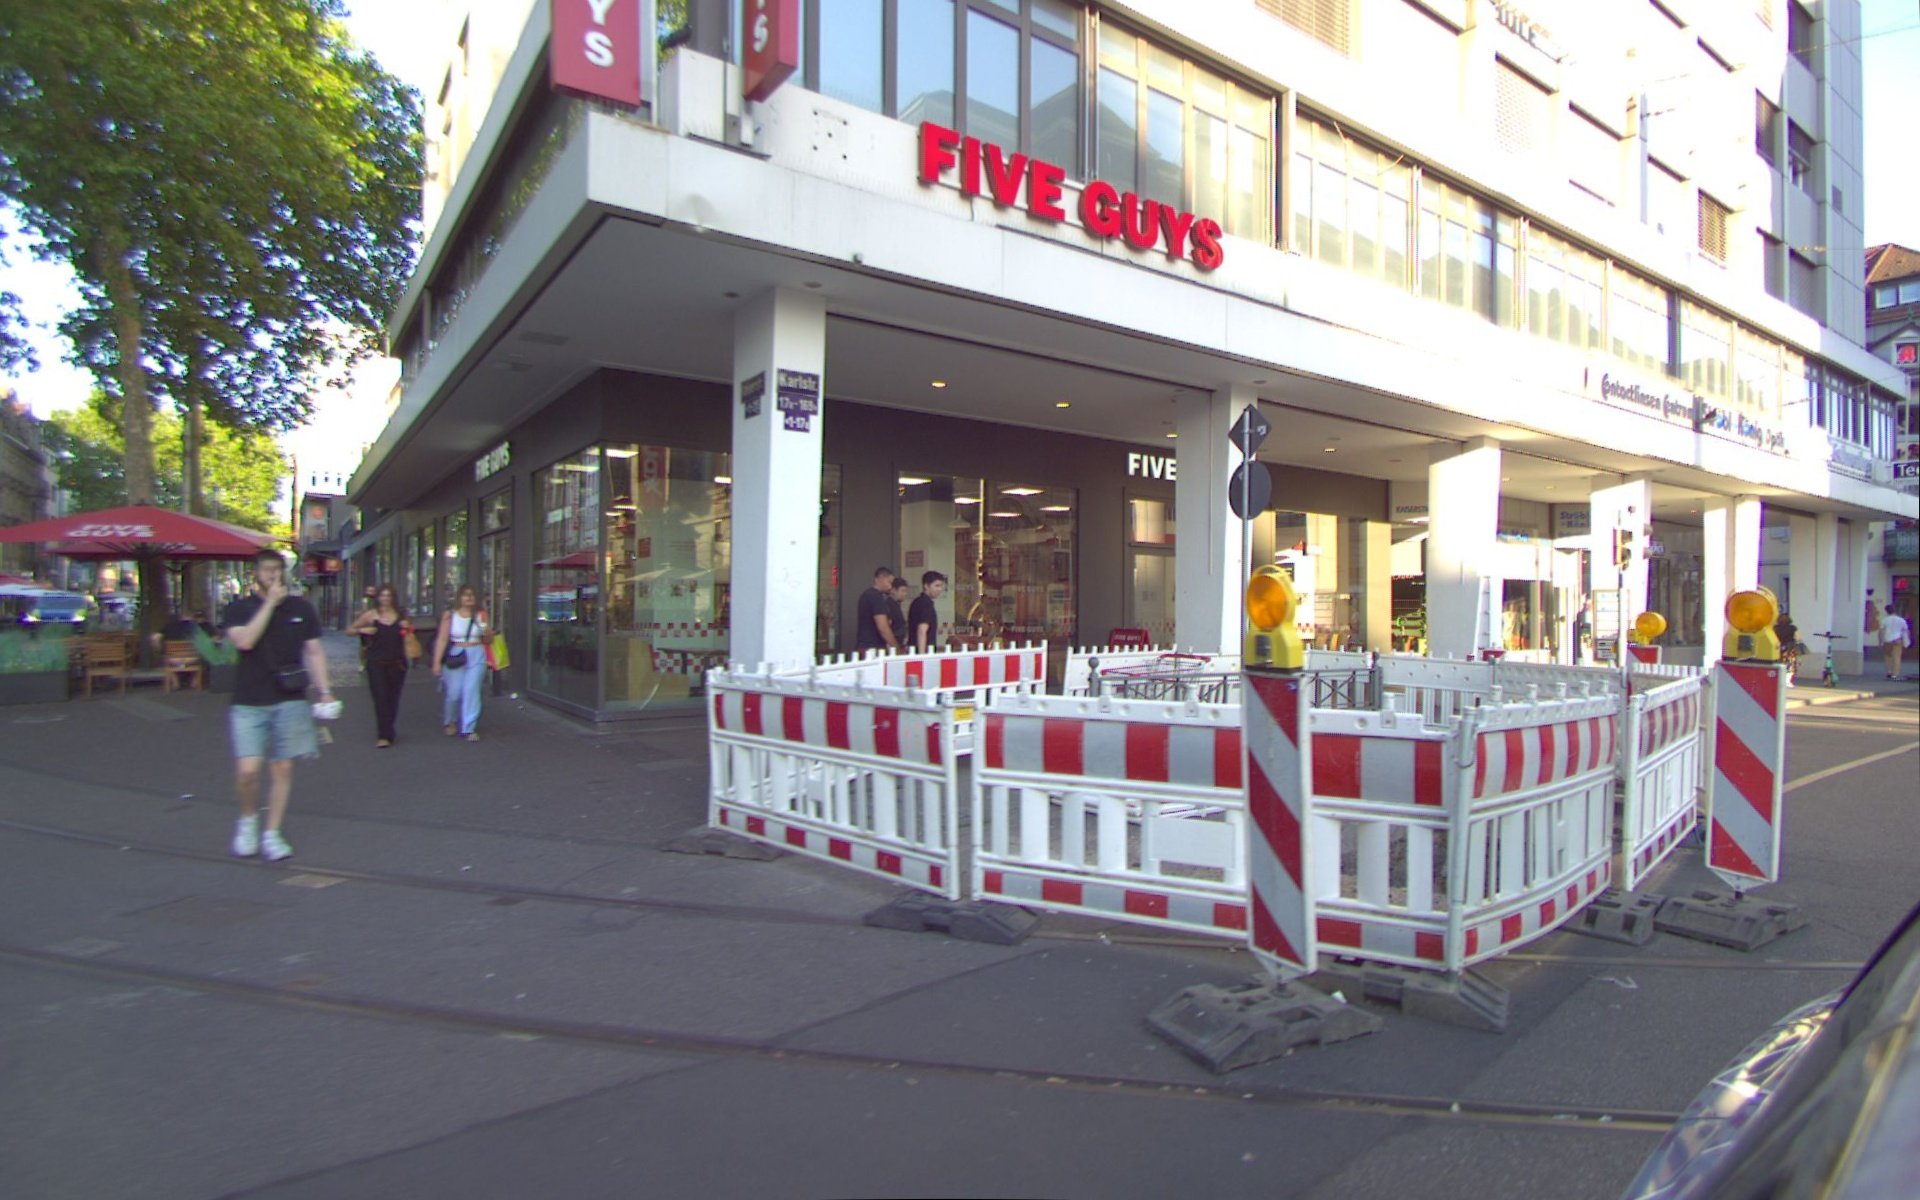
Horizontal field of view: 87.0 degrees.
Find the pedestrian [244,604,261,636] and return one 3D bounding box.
[{"bbox_3d":[-35.554,1.007,50.869,0.650,1.632,0.664,1,-2,-36],"label":"pedestrian"}]

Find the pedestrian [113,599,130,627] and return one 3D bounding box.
[{"bbox_3d":[-52.556,0.805,63.422,0.746,1.750,0.664,1,-2,-36],"label":"pedestrian"}]

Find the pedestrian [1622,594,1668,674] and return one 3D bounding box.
[{"bbox_3d":[15.993,0.787,23.628,0.618,1.839,0.701,2,-2,-35],"label":"pedestrian"}]

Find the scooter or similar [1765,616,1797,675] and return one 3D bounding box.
[{"bbox_3d":[21.215,1.165,26.145,1.290,1.507,0.315,2,-1,-36],"label":"scooter or similar"}]

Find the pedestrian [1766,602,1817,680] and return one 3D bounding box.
[{"bbox_3d":[18.702,0.909,22.768,0.692,1.715,0.538,0,-2,17],"label":"pedestrian"}]

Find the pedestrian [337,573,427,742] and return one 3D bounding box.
[{"bbox_3d":[-5.971,0.572,10.453,0.700,1.651,0.827,1,-2,-36],"label":"pedestrian"}]

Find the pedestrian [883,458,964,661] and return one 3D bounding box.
[{"bbox_3d":[-0.380,-0.399,10.528,0.701,2.040,0.466,-1,-2,29],"label":"pedestrian"}]

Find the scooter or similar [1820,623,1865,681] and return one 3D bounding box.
[{"bbox_3d":[19.656,1.140,22.530,1.157,1.250,0.506,2,-1,-36],"label":"scooter or similar"}]

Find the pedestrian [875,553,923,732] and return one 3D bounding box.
[{"bbox_3d":[-0.714,0.493,11.968,0.463,2.040,0.706,0,-2,6],"label":"pedestrian"}]

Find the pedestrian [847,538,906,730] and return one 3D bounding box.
[{"bbox_3d":[-0.905,0.365,11.140,0.508,2.040,0.780,0,-2,6],"label":"pedestrian"}]

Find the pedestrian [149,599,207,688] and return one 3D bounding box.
[{"bbox_3d":[-12.591,0.696,16.309,0.677,1.387,0.778,1,-2,-36],"label":"pedestrian"}]

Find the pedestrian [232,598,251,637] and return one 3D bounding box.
[{"bbox_3d":[-30.677,0.752,43.210,0.650,1.632,0.664,1,-2,-36],"label":"pedestrian"}]

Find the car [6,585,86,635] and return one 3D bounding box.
[{"bbox_3d":[-39.450,0.458,43.760,1.962,2.040,4.294,1,-2,-35],"label":"car"}]

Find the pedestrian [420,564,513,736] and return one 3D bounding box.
[{"bbox_3d":[-5.323,0.520,10.913,0.758,1.757,0.790,1,-2,-36],"label":"pedestrian"}]

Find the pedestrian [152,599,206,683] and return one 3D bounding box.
[{"bbox_3d":[-13.285,0.688,17.224,0.677,1.387,0.644,1,-2,-36],"label":"pedestrian"}]

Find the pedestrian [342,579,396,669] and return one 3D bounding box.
[{"bbox_3d":[-11.601,0.471,19.868,0.825,1.715,0.841,1,-2,-34],"label":"pedestrian"}]

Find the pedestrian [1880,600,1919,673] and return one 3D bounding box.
[{"bbox_3d":[24.319,0.932,26.040,0.835,1.839,0.702,1,-2,-29],"label":"pedestrian"}]

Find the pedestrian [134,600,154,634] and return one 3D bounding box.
[{"bbox_3d":[-39.281,0.810,48.720,0.650,1.632,0.664,1,-2,-36],"label":"pedestrian"}]

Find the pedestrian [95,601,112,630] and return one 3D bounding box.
[{"bbox_3d":[-53.368,0.966,63.051,0.746,1.750,0.664,1,-2,-36],"label":"pedestrian"}]

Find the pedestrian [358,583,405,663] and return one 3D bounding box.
[{"bbox_3d":[-12.715,0.496,22.241,0.825,1.715,0.841,1,-2,-34],"label":"pedestrian"}]

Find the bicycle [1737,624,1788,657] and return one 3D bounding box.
[{"bbox_3d":[26.668,1.351,33.612,1.810,1.042,0.772,4,-3,-32],"label":"bicycle"}]

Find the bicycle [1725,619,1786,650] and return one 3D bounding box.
[{"bbox_3d":[31.023,1.349,39.491,1.810,1.196,0.772,0,-2,-4],"label":"bicycle"}]

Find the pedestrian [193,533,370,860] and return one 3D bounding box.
[{"bbox_3d":[-4.044,0.536,6.041,0.719,1.792,0.661,-1,-2,37],"label":"pedestrian"}]

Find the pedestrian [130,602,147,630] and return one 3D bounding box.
[{"bbox_3d":[-51.916,1.001,63.984,0.746,1.750,0.664,1,-2,-36],"label":"pedestrian"}]
